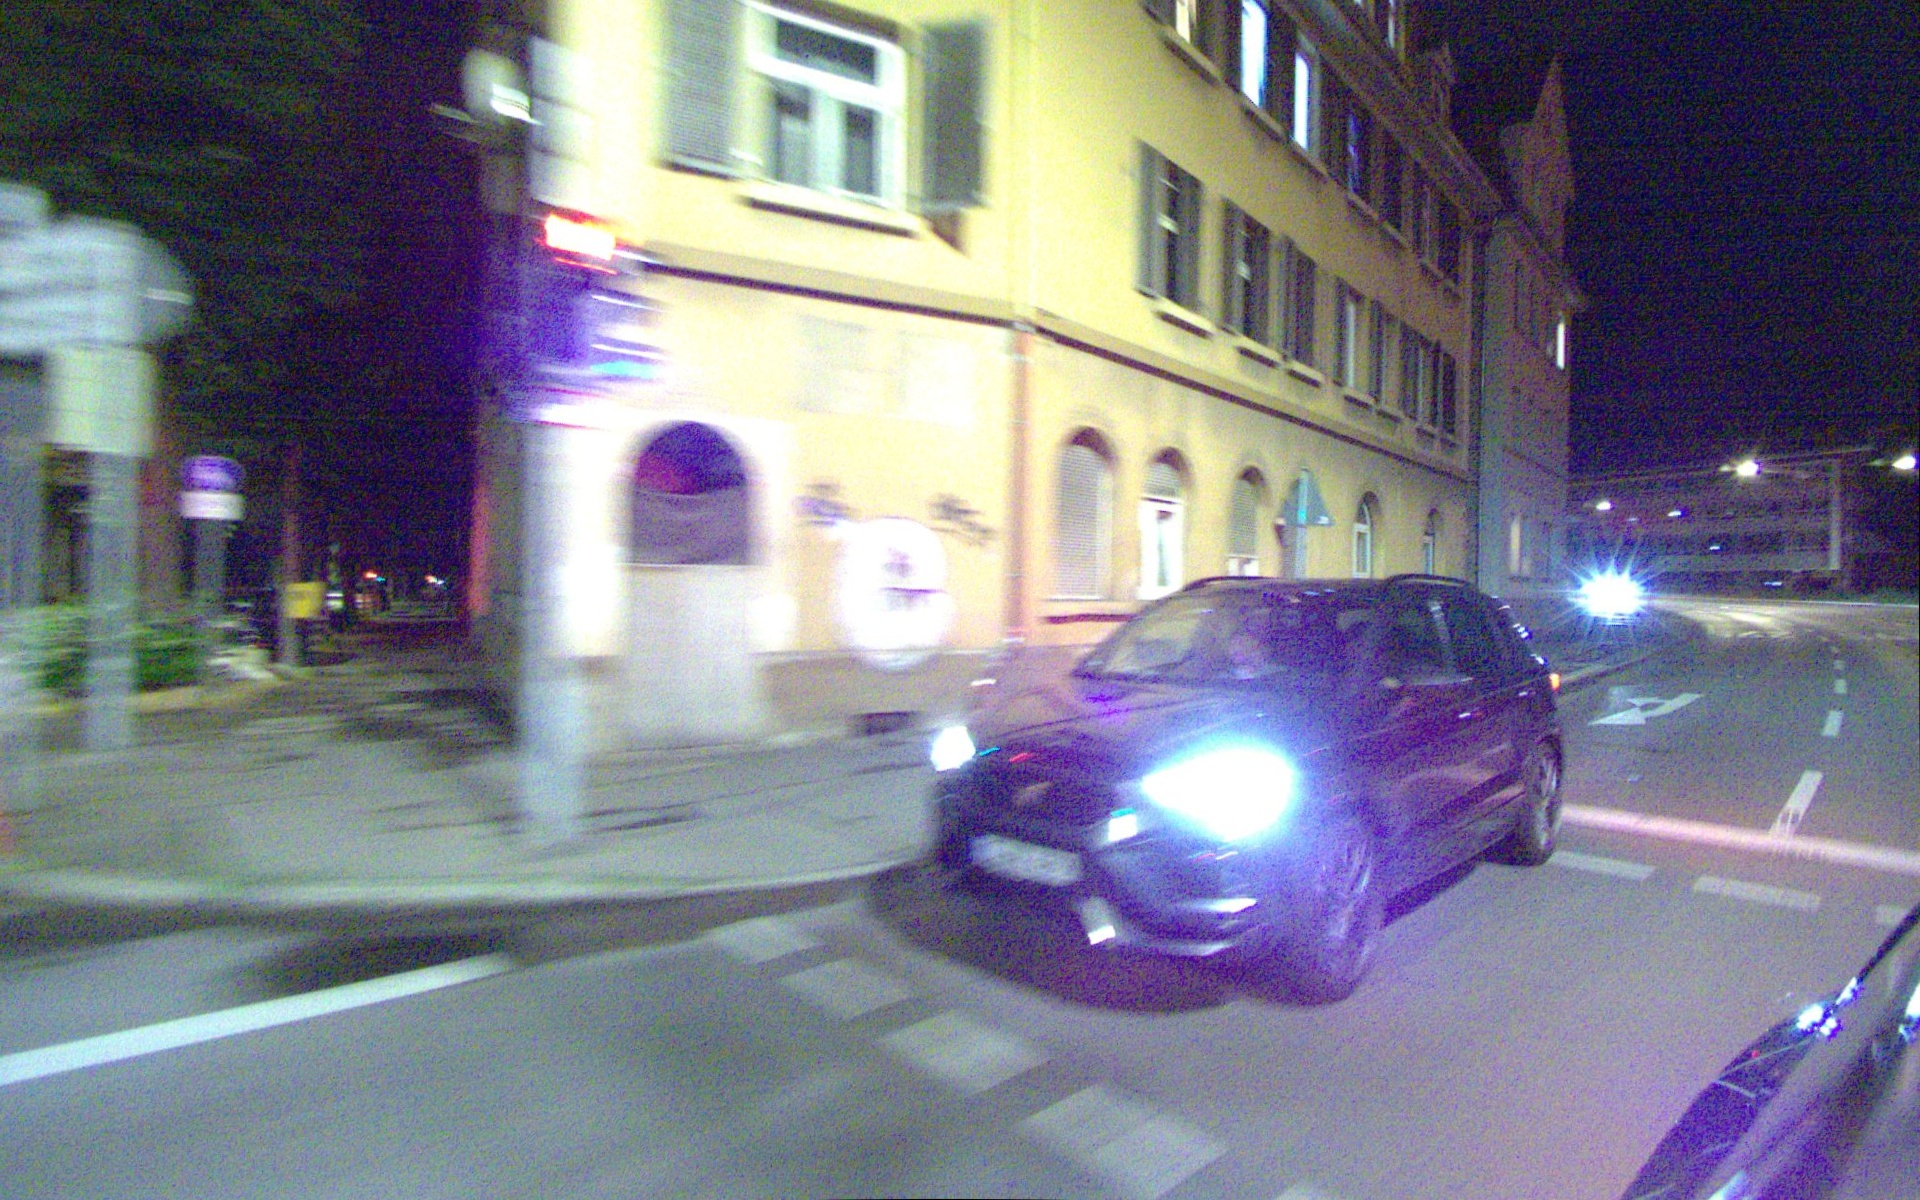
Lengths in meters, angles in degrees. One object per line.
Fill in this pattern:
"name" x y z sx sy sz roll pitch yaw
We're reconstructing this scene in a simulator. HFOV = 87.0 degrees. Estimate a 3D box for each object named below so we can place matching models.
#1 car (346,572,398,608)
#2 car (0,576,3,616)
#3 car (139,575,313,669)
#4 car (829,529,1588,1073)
"car" -28.885 -0.440 49.834 1.959 1.684 3.907 1 -1 -27
"car" -37.450 -0.130 37.415 1.959 1.524 4.006 -1 1 -27
"car" -13.973 0.341 19.524 1.958 1.609 4.007 0 1 -24
"car" 1.507 0.549 5.141 3.935 1.636 1.995 -1 2 -44
